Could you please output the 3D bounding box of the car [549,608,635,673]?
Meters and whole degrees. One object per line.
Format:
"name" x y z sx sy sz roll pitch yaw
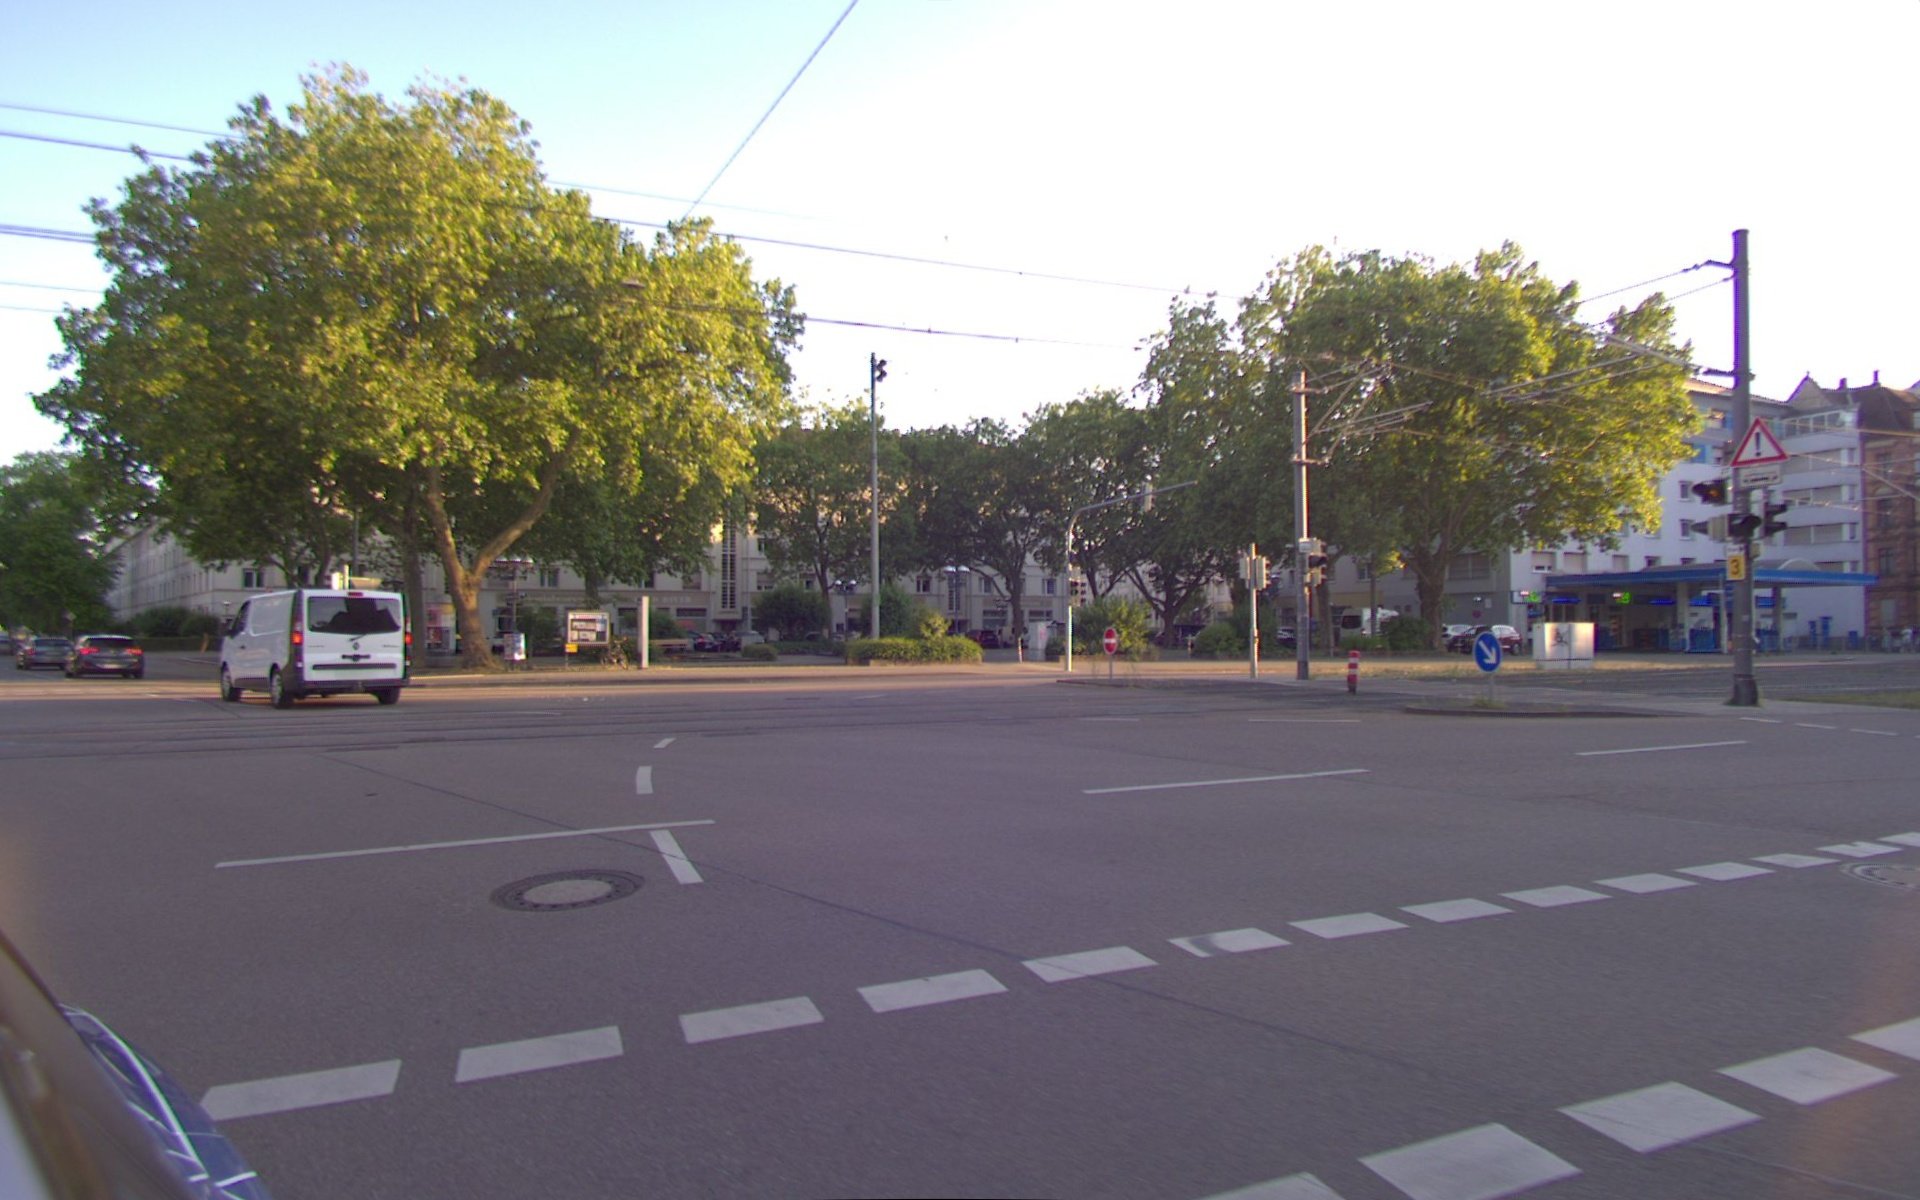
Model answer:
"car" -12.283 1.341 33.684 1.837 2.029 3.820 1 -3 -33

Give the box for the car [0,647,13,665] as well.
"car" -77.192 4.479 80.993 1.970 1.438 4.003 2 -3 -44

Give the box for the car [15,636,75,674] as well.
"car" -40.908 2.424 45.220 1.769 1.592 4.002 2 -3 -45

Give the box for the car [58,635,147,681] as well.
"car" -28.988 1.924 34.174 1.971 1.470 4.002 2 -3 -45

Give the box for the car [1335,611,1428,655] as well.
"car" 25.851 2.016 62.088 5.482 2.638 2.006 1 -2 -25

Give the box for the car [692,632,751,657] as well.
"car" -16.637 3.111 70.578 3.932 1.719 2.005 0 -2 -15

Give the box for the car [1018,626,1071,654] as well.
"car" 5.866 2.812 71.007 1.965 1.851 4.331 1 -2 -22

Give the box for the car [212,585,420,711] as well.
"car" -11.611 0.844 18.126 4.594 1.971 1.965 -2 -3 42

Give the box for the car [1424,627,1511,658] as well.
"car" 27.074 2.259 54.024 3.930 1.625 2.006 0 -2 -21

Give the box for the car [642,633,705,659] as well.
"car" -18.831 3.011 66.663 3.932 1.719 2.005 0 -2 -15

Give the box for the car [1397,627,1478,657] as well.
"car" 26.587 2.320 56.369 3.930 1.586 1.789 0 -2 -21
